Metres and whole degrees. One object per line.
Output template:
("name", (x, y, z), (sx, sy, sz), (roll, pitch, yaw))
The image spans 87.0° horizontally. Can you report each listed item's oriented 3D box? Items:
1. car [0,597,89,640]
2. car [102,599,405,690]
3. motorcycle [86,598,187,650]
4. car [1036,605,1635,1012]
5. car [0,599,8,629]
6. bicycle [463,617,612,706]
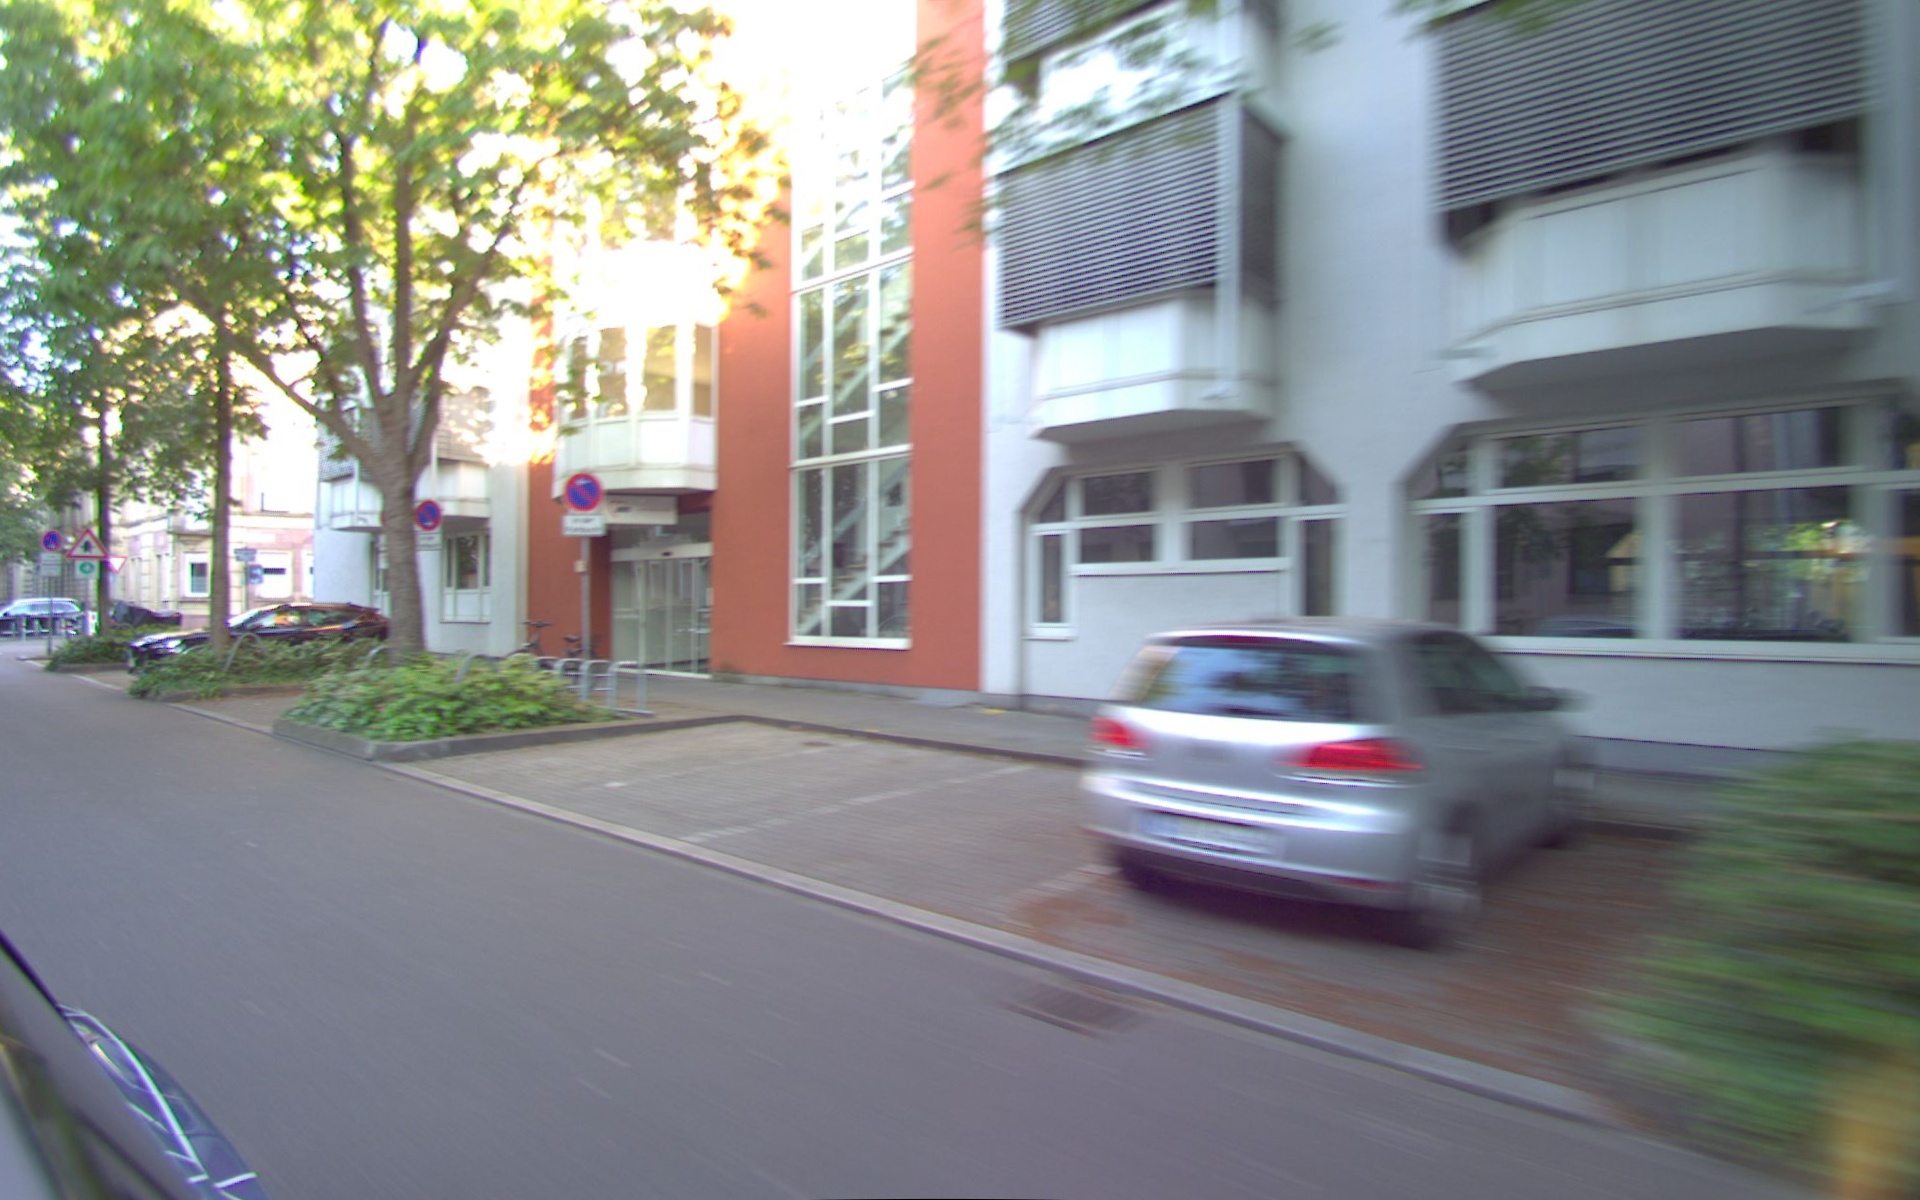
("car", (-39.694, 0.759, 42.554), (4.538, 1.748, 2.143), (1, -1, -44))
("car", (-13.419, 0.772, 19.453), (1.870, 1.537, 4.463), (0, -1, 40))
("motorcycle", (-24.729, 0.704, 30.436), (0.895, 1.481, 2.218), (0, -1, 18))
("car", (2.463, 0.793, 5.917), (1.952, 1.480, 4.124), (0, -1, 41))
("car", (-57.961, 0.811, 58.211), (1.999, 1.728, 4.470), (0, -1, 41))
("bicycle", (-6.050, 0.845, 14.604), (0.654, 1.185, 1.942), (0, -1, 34))
